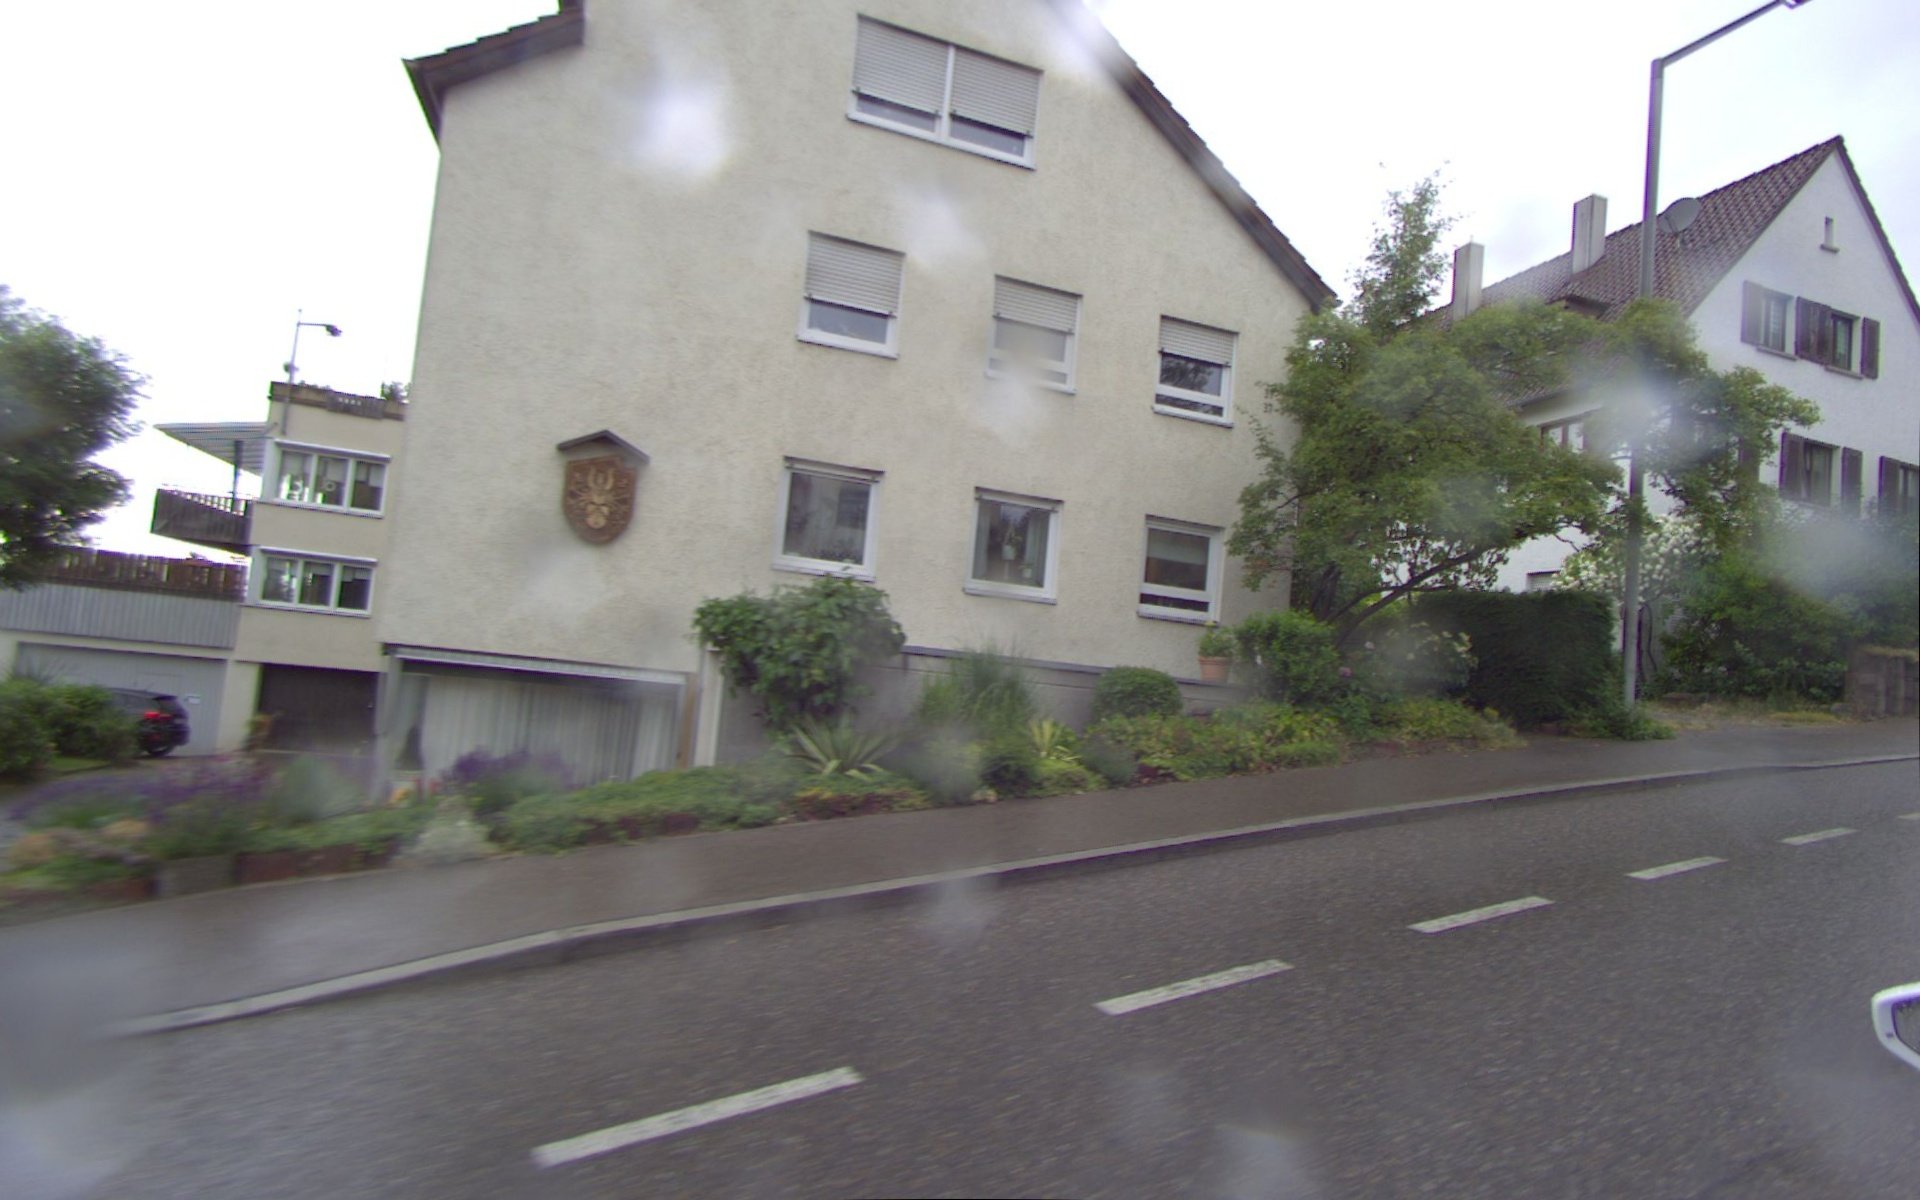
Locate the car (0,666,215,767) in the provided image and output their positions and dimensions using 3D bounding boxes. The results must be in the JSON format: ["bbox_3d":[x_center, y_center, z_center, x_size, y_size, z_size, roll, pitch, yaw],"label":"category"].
[{"bbox_3d":[-17.614,2.287,19.952,3.940,1.749,1.992,5,-6,-20],"label":"car"}]
